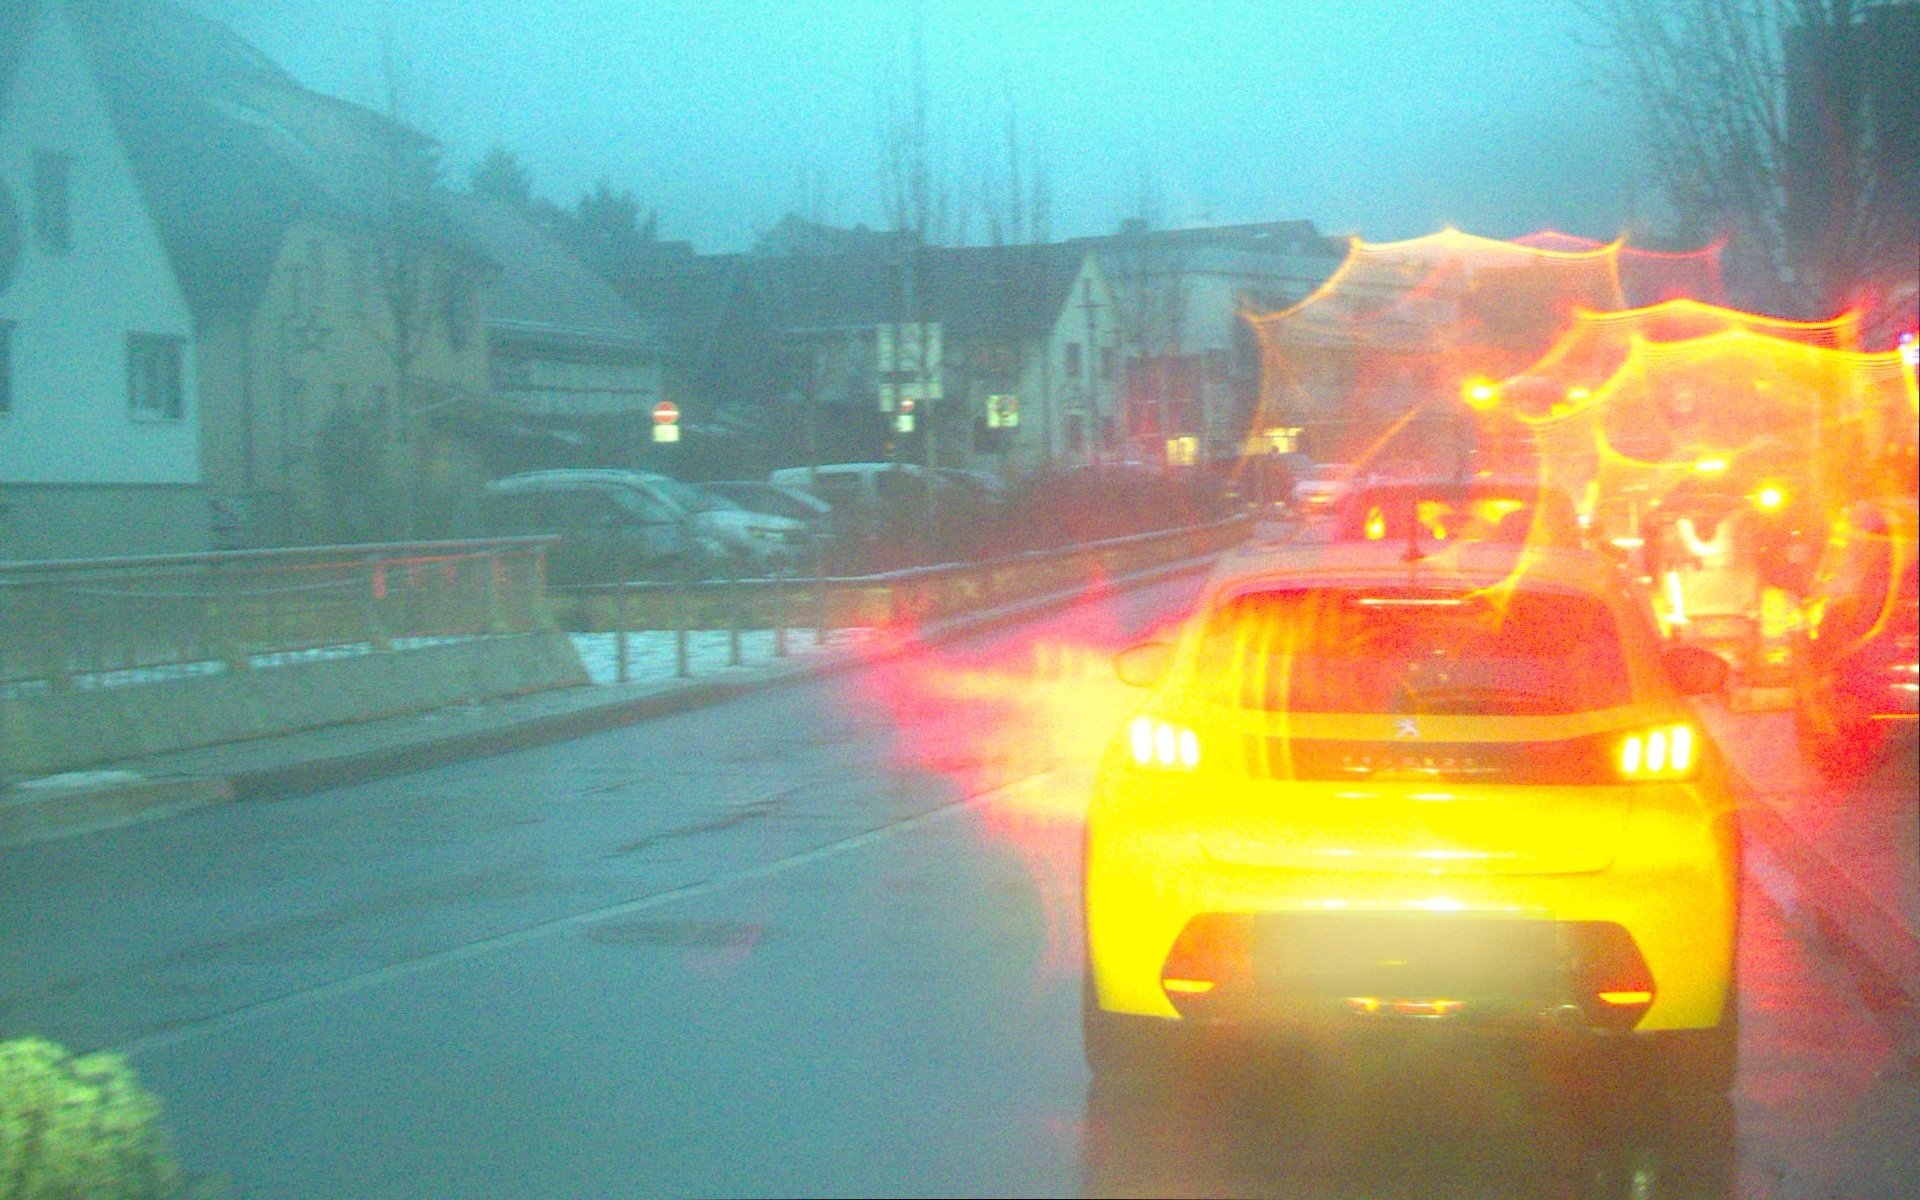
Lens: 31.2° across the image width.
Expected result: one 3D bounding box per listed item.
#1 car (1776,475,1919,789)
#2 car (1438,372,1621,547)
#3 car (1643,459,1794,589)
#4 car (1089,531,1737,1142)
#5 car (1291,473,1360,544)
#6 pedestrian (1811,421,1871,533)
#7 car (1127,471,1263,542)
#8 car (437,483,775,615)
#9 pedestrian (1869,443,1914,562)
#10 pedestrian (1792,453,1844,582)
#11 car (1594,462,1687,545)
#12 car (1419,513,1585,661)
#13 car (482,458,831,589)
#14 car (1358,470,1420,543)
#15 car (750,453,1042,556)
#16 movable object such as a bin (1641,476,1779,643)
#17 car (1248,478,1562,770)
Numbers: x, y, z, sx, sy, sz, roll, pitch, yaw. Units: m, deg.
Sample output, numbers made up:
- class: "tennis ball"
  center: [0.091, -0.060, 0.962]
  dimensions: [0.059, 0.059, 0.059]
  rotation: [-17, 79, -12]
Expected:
- class: "car"
  center: [5.495, 0.061, 18.941]
  dimensions: [1.729, 1.459, 4.197]
  rotation: [-3, 2, 12]
- class: "car"
  center: [10.685, -2.571, 64.539]
  dimensions: [3.192, 3.021, 6.303]
  rotation: [1, 0, 9]
- class: "car"
  center: [10.490, -1.084, 47.772]
  dimensions: [1.736, 1.686, 4.385]
  rotation: [-1, 2, 9]
- class: "car"
  center: [1.345, 0.541, 9.925]
  dimensions: [1.563, 1.407, 3.017]
  rotation: [1, 2, 9]
- class: "car"
  center: [10.993, -2.729, 103.195]
  dimensions: [1.920, 2.020, 3.974]
  rotation: [1, 0, 8]
- class: "pedestrian"
  center: [13.833, -1.932, 53.981]
  dimensions: [0.713, 1.709, 1.033]
  rotation: [-1, 2, 23]
- class: "car"
  center: [7.538, -2.983, 110.584]
  dimensions: [1.994, 2.159, 4.385]
  rotation: [1, 0, -36]
- class: "car"
  center: [-3.942, -0.579, 38.560]
  dimensions: [3.446, 1.367, 1.600]
  rotation: [-1, 2, 9]
- class: "pedestrian"
  center: [13.038, -1.358, 48.107]
  dimensions: [0.529, 1.647, 0.953]
  rotation: [1, 0, 19]
- class: "pedestrian"
  center: [11.533, -1.112, 46.214]
  dimensions: [0.573, 1.694, 0.653]
  rotation: [-2, 1, 11]
- class: "car"
  center: [15.644, -2.231, 79.184]
  dimensions: [1.998, 1.858, 4.081]
  rotation: [0, 2, 10]
- class: "car"
  center: [5.409, -0.168, 34.256]
  dimensions: [1.541, 1.327, 3.310]
  rotation: [1, 2, 9]
- class: "car"
  center: [-3.619, -0.920, 41.207]
  dimensions: [3.796, 1.517, 1.713]
  rotation: [0, 2, 16]
- class: "car"
  center: [13.826, -2.990, 110.710]
  dimensions: [1.920, 2.208, 3.974]
  rotation: [1, 0, 8]
- class: "car"
  center: [-1.039, -1.590, 57.388]
  dimensions: [4.627, 1.662, 2.000]
  rotation: [0, 2, 7]
- class: "movable object such as a bin"
  center: [6.924, -0.389, 31.783]
  dimensions: [1.129, 1.415, 1.417]
  rotation: [-4, 2, 12]
- class: "car"
  center: [2.827, 0.070, 21.437]
  dimensions: [1.767, 1.622, 3.585]
  rotation: [1, 2, 9]
